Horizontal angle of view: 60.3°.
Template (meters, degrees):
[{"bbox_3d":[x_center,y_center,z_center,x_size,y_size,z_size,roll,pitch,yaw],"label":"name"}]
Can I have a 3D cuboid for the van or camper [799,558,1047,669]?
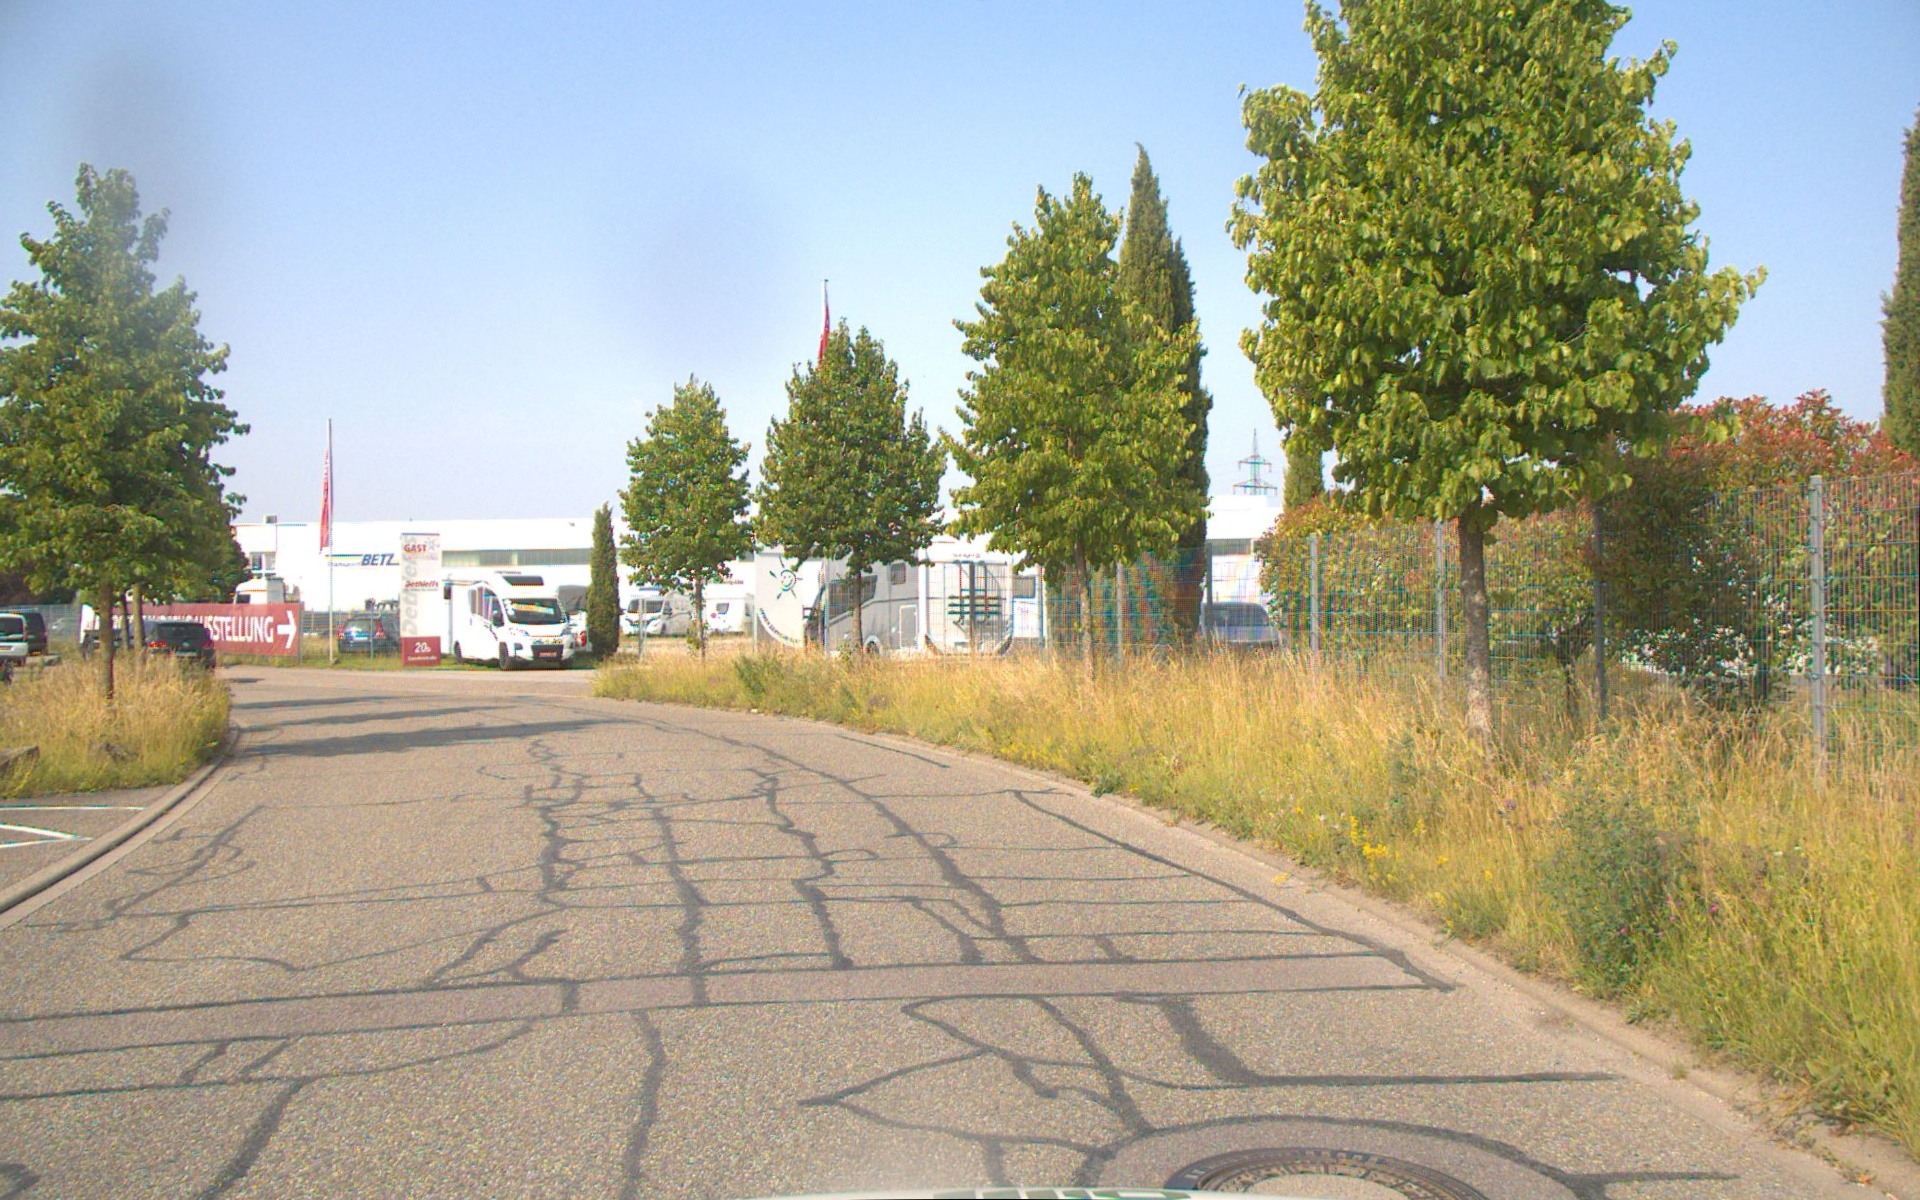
[{"bbox_3d":[-1.125,0.391,48.851,7.115,3.085,2.583,-1,-1,-4],"label":"van or camper"}]

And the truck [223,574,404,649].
[{"bbox_3d":[-36.022,0.631,92.351,9.093,4.042,2.458,0,0,0],"label":"truck"}]

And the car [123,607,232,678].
[{"bbox_3d":[-21.488,1.164,45.328,1.978,1.836,3.948,1,-2,-37],"label":"car"}]

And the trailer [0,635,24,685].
[{"bbox_3d":[-24.117,1.410,38.872,2.562,1.119,5.118,-1,0,-44],"label":"trailer"}]

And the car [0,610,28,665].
[{"bbox_3d":[-35.379,1.345,59.972,1.982,1.933,4.402,-1,0,-40],"label":"car"}]

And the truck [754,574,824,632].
[{"bbox_3d":[-8.947,0.144,87.516,2.399,2.876,8.005,0,0,3],"label":"truck"}]

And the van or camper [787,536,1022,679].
[{"bbox_3d":[-1.441,0.191,37.184,2.322,2.898,7.273,0,-1,-28],"label":"van or camper"}]

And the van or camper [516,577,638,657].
[{"bbox_3d":[-13.288,0.542,57.896,2.431,2.603,6.628,0,0,2],"label":"van or camper"}]

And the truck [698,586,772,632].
[{"bbox_3d":[-11.856,0.474,87.717,2.399,2.305,8.005,0,0,3],"label":"truck"}]

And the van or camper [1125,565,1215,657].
[{"bbox_3d":[7.073,0.402,56.503,2.273,2.914,6.609,-1,-1,0],"label":"van or camper"}]

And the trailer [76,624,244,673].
[{"bbox_3d":[-27.681,1.610,56.970,2.611,1.412,9.305,-3,2,-43],"label":"trailer"}]

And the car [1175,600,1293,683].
[{"bbox_3d":[5.838,0.840,35.686,1.688,1.672,3.998,1,0,-3],"label":"car"}]

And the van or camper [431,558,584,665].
[{"bbox_3d":[-13.797,0.343,50.056,2.311,2.995,6.886,0,0,-35],"label":"van or camper"}]

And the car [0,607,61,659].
[{"bbox_3d":[-39.456,1.353,69.727,1.809,2.012,3.940,-5,3,-41],"label":"car"}]

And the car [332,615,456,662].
[{"bbox_3d":[-19.687,1.320,57.736,2.120,1.502,4.002,-1,0,18],"label":"car"}]

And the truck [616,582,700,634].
[{"bbox_3d":[-15.448,0.406,85.204,2.399,2.514,8.005,0,0,3],"label":"truck"}]
